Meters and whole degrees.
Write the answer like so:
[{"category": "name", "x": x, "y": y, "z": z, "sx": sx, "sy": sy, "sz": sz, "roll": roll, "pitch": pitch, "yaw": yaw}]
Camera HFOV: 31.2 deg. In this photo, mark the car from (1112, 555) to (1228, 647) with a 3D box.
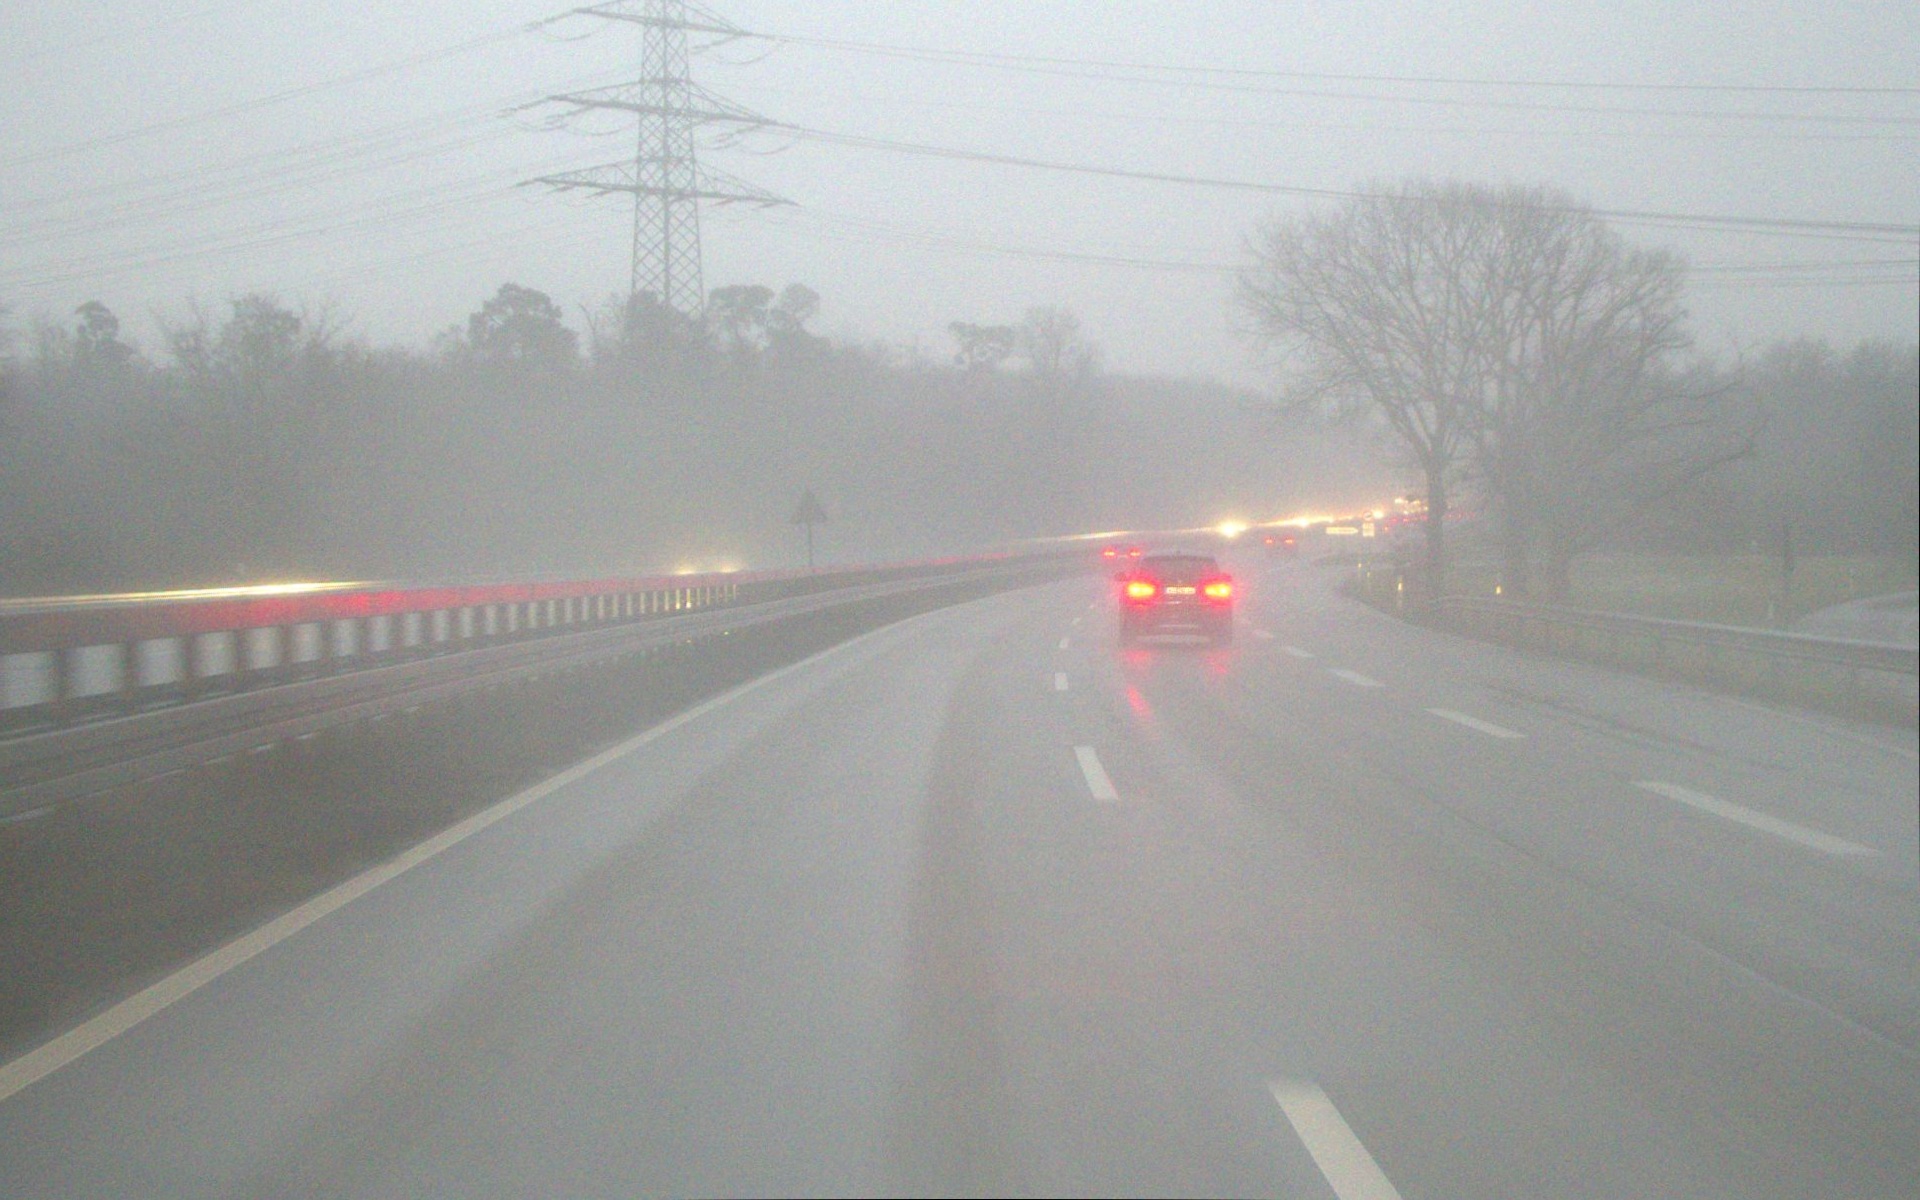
[{"category": "car", "x": 3.732, "y": -0.009, "z": 60.525, "sx": 1.678, "sy": 1.503, "sz": 3.807, "roll": 0, "pitch": 2, "yaw": 9}]
